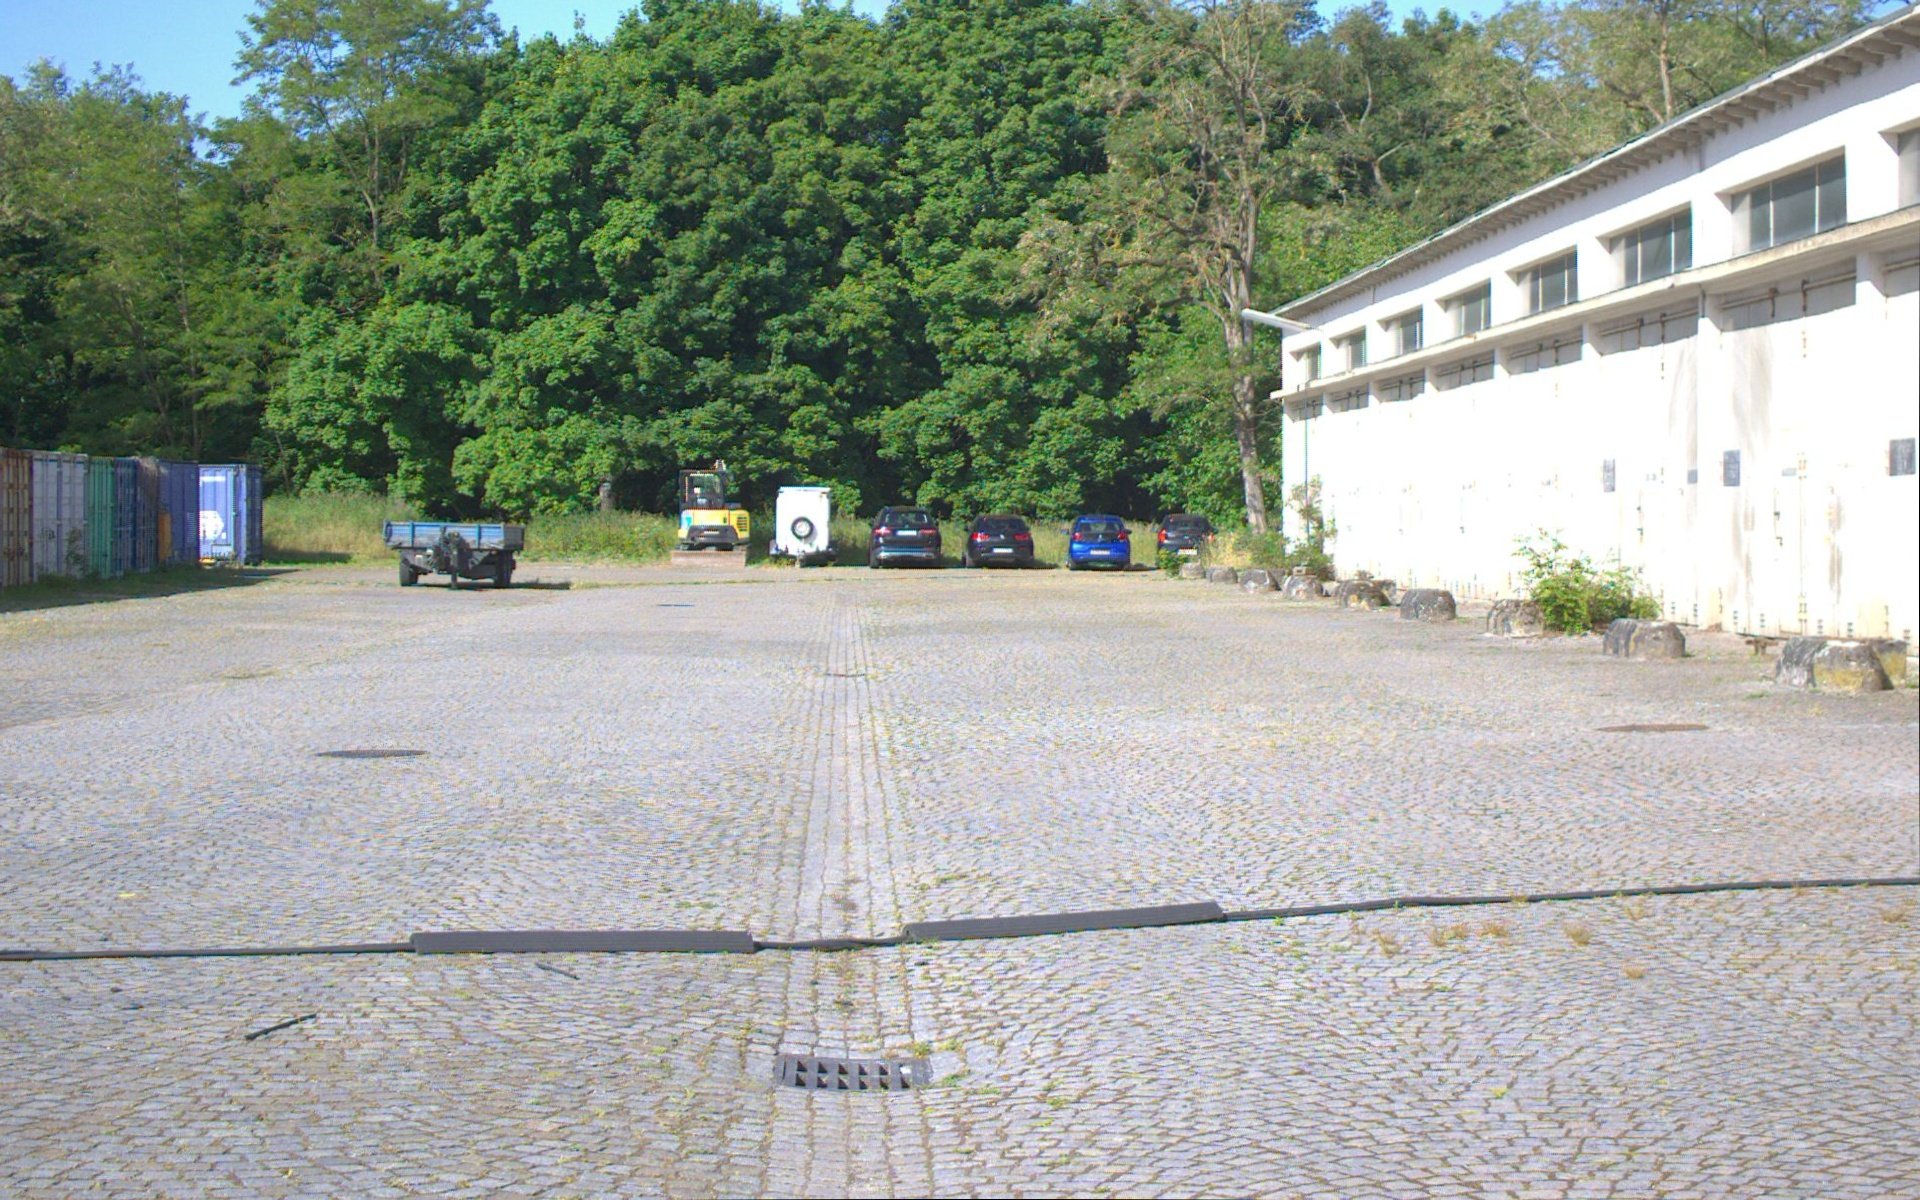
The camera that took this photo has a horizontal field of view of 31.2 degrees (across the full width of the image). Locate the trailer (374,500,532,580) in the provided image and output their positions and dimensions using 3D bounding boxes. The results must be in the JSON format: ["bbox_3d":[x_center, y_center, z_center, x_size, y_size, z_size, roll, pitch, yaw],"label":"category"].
[{"bbox_3d":[-10.765,-1.290,73.432,2.791,1.640,5.621,0,1,-3],"label":"trailer"}]

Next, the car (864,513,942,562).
[{"bbox_3d":[-1.531,-1.664,91.003,1.993,1.254,4.001,0,1,-2],"label":"car"}]

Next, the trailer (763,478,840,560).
[{"bbox_3d":[-4.241,-2.180,92.153,1.993,2.155,4.432,0,1,-2],"label":"trailer"}]

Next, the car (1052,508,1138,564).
[{"bbox_3d":[3.576,-1.719,91.500,1.993,1.461,4.001,0,1,-2],"label":"car"}]

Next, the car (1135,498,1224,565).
[{"bbox_3d":[5.896,-1.862,92.803,1.993,1.766,4.001,0,1,-2],"label":"car"}]

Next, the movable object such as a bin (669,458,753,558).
[{"bbox_3d":[-6.728,-2.482,92.838,2.231,2.648,4.001,0,2,-4],"label":"movable object such as a bin"}]

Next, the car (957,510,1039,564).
[{"bbox_3d":[0.984,-1.690,91.442,1.993,1.419,4.001,0,1,-2],"label":"car"}]
